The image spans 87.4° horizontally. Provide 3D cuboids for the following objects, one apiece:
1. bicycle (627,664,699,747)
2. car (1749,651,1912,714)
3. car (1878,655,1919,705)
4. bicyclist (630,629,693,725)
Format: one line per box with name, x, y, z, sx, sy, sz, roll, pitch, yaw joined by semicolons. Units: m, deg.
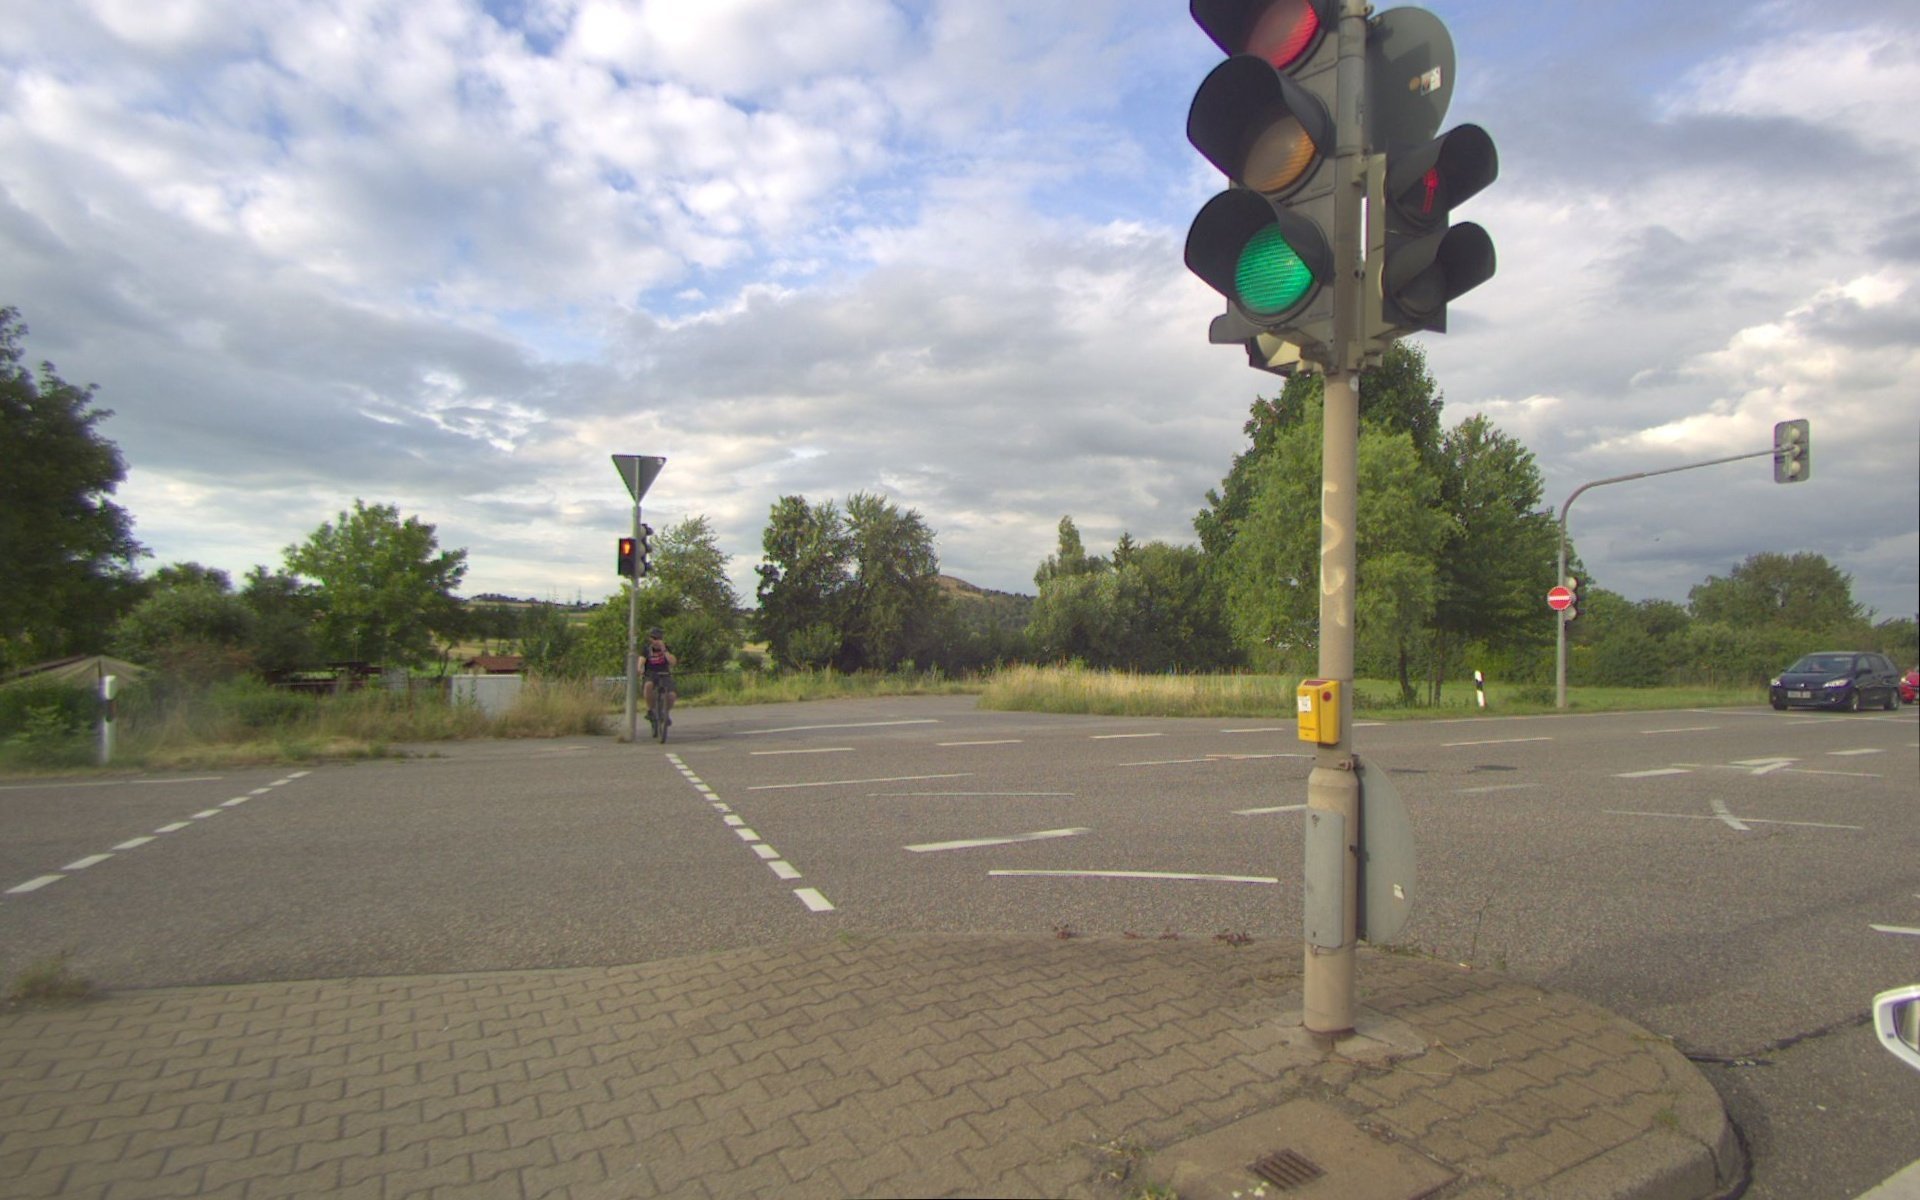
bicycle;-4.789;1.640;16.072;0.804;1.152;2.314;2;-2;-24
car;23.861;2.213;27.500;4.881;1.556;1.899;2;-2;-30
car;31.030;2.521;31.699;4.135;1.484;1.899;2;-2;-30
bicyclist;-4.802;1.215;16.111;0.804;1.470;1.219;2;-2;-24
